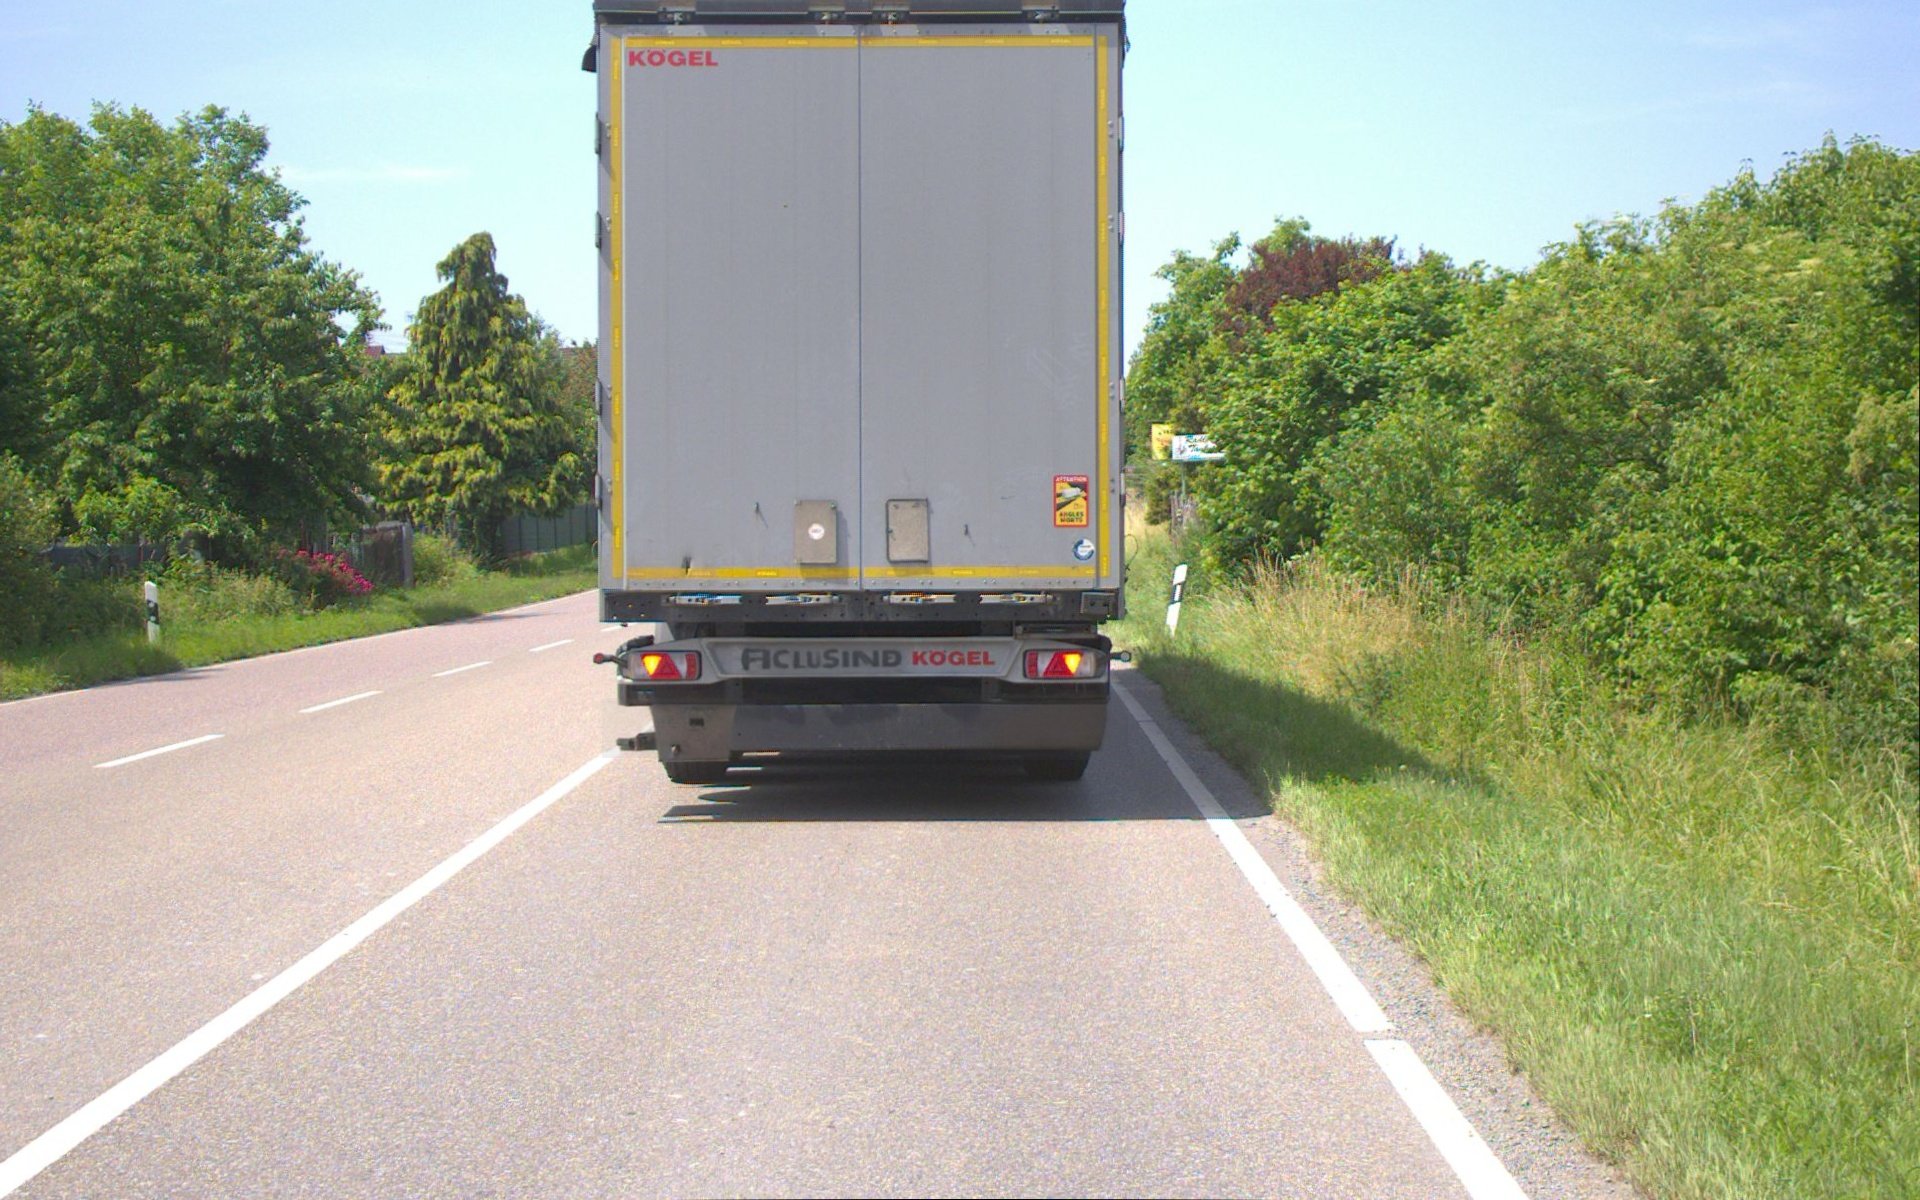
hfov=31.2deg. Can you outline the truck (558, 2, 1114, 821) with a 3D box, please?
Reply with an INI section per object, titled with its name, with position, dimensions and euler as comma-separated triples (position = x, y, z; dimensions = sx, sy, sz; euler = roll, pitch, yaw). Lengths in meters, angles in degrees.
[truck]
position = -0.622, -1.004, 20.819
dimensions = 2.647, 3.903, 8.826
euler = 0, 1, 0
